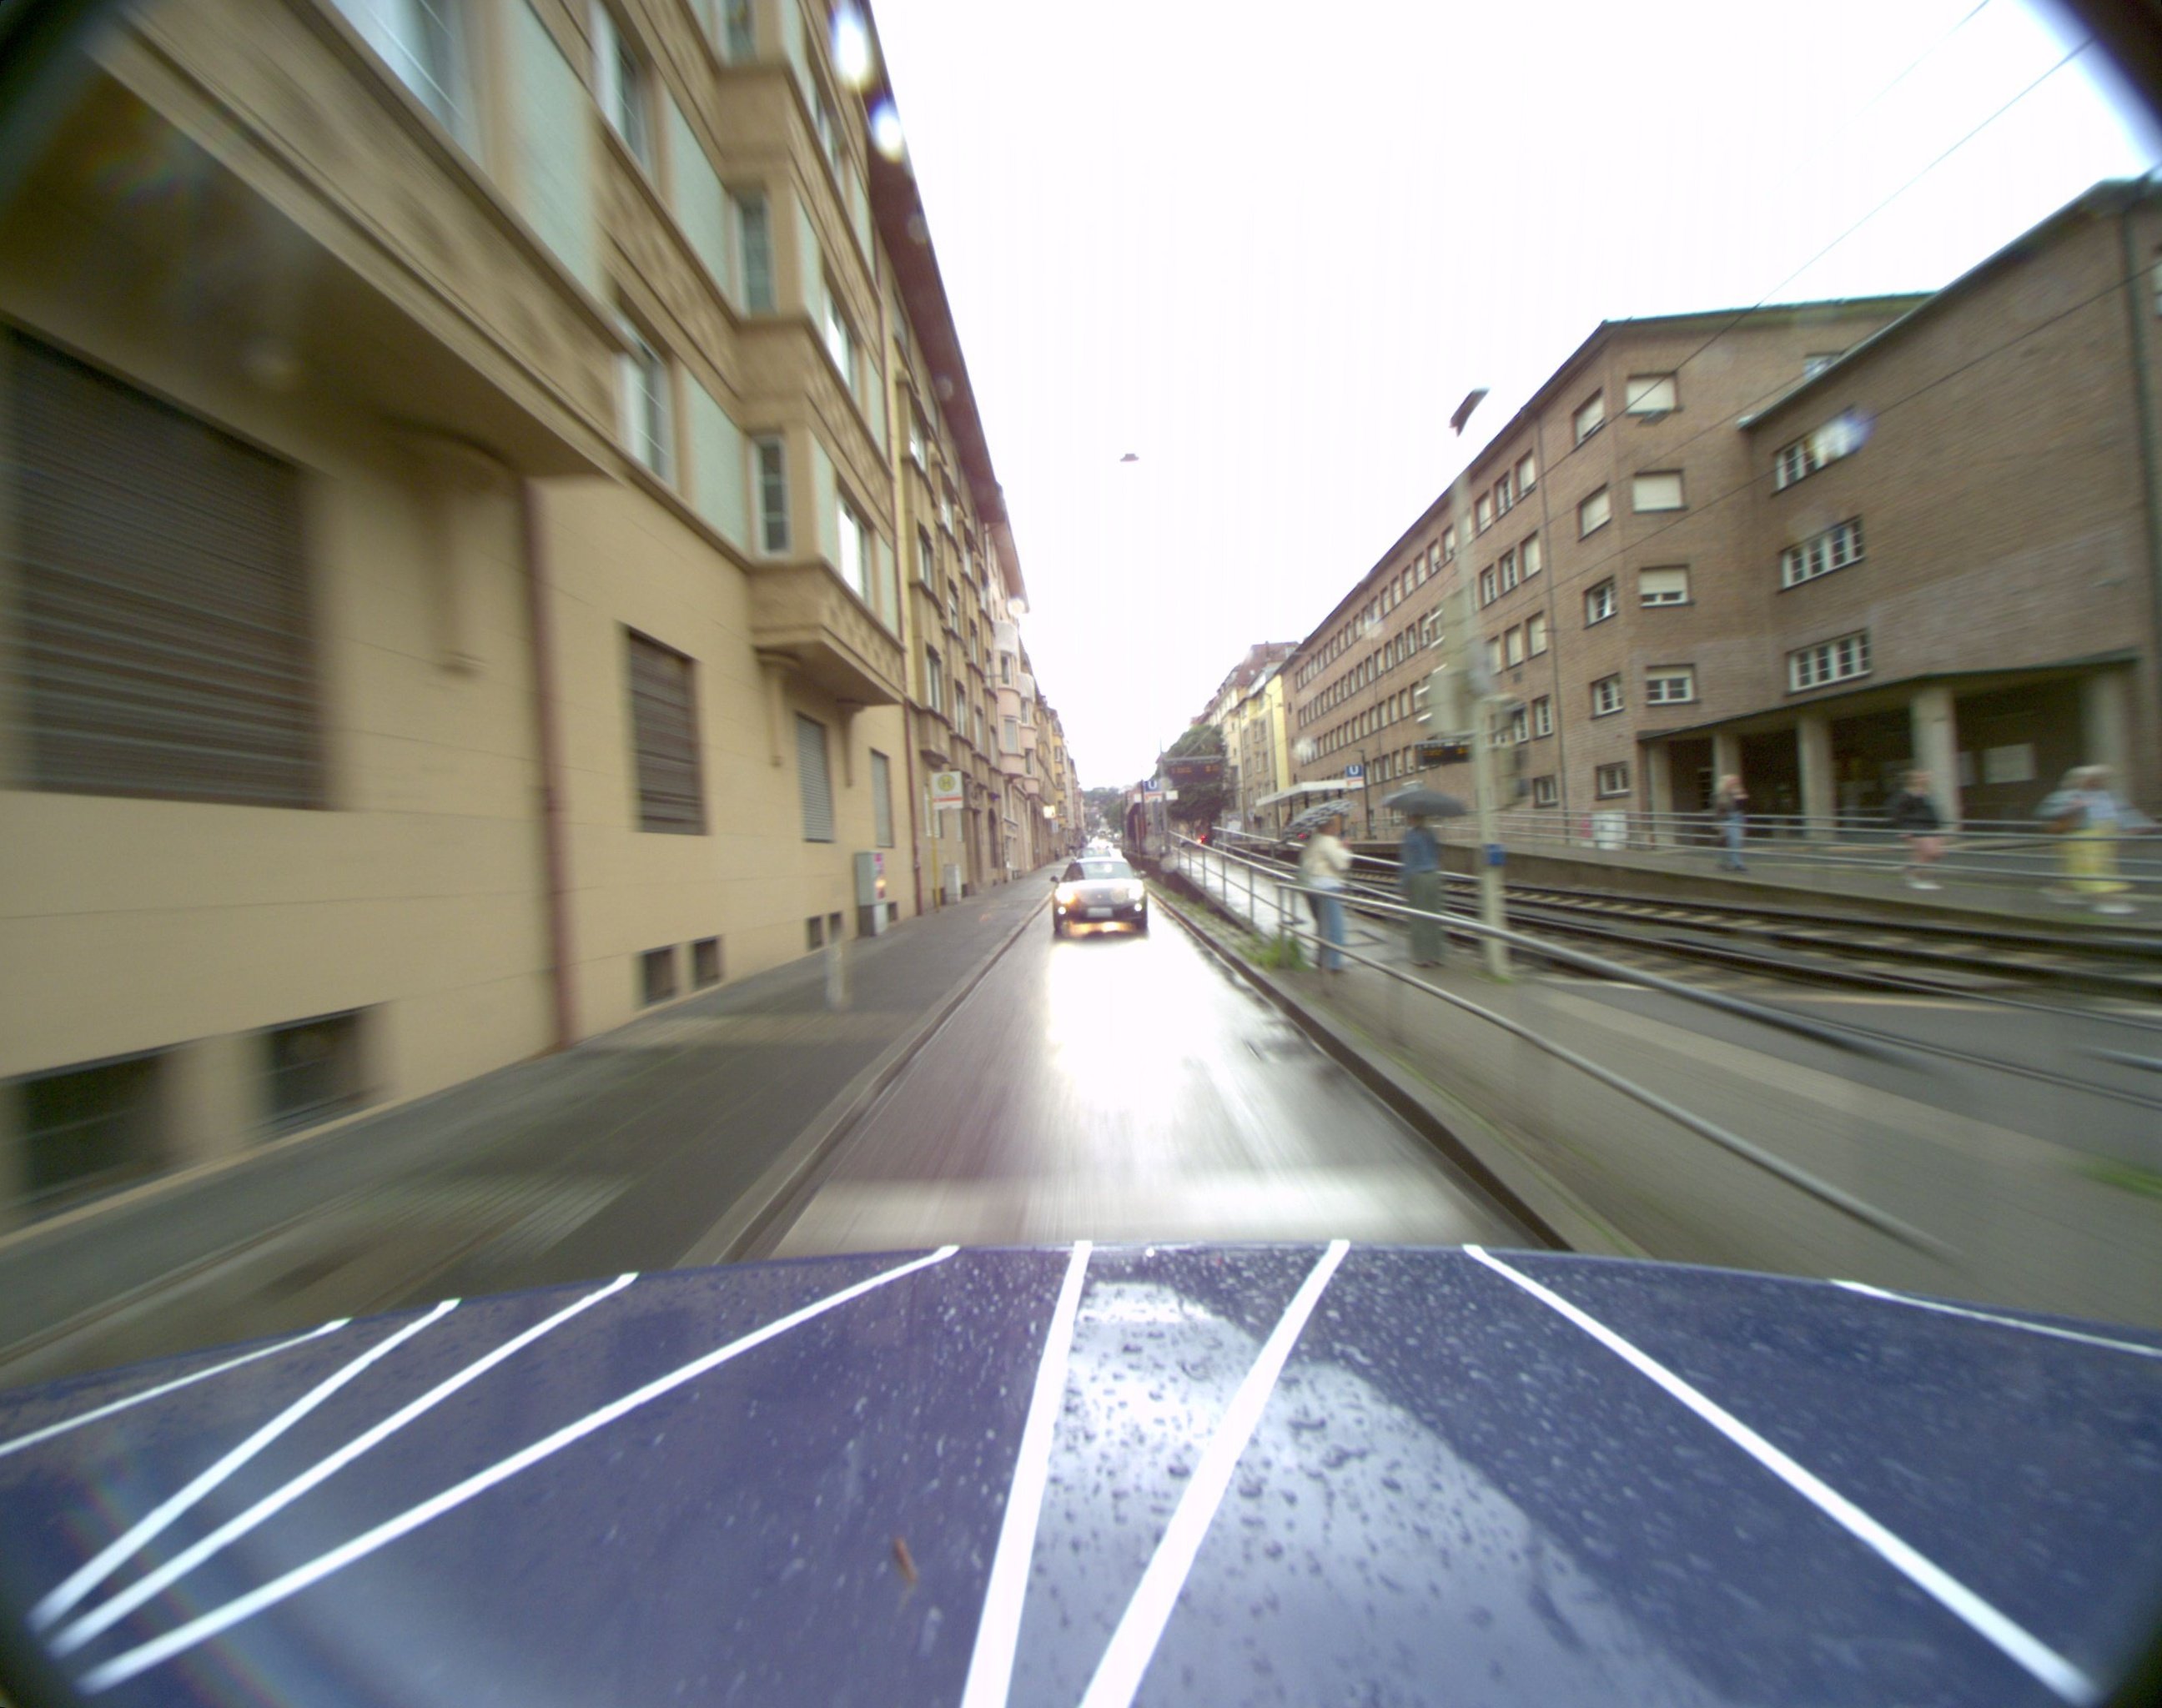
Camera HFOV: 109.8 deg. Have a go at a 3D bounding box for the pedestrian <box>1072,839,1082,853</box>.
[{"bbox_3d":[-0.521,-1.001,96.644,1.125,1.703,1.101,-2,1,2],"label":"pedestrian"}]

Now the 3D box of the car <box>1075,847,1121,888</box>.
[{"bbox_3d":[0.680,0.494,30.247,1.689,1.452,3.298,-2,1,2],"label":"car"}]

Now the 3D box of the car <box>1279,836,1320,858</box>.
[{"bbox_3d":[15.781,-0.530,55.048,1.647,1.488,4.763,-3,1,2],"label":"car"}]

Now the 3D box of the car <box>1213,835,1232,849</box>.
[{"bbox_3d":[16.929,-1.456,90.917,1.648,1.572,4.339,-4,1,3],"label":"car"}]

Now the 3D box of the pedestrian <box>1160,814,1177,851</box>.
[{"bbox_3d":[4.291,-1.038,37.294,0.645,1.764,0.710,-4,2,1],"label":"pedestrian"}]

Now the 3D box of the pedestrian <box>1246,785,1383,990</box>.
[{"bbox_3d":[2.477,0.318,8.053,0.949,2.002,0.926,-6,2,-44],"label":"pedestrian"}]

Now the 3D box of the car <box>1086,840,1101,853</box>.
[{"bbox_3d":[1.616,-0.939,95.704,1.633,1.443,4.000,-4,1,3],"label":"car"}]

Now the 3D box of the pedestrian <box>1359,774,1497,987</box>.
[{"bbox_3d":[3.522,0.251,7.803,0.899,2.002,0.947,-4,2,1],"label":"pedestrian"}]

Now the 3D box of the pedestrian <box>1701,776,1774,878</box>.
[{"bbox_3d":[11.505,-0.483,13.330,0.666,1.690,0.688,-6,5,-1],"label":"pedestrian"}]

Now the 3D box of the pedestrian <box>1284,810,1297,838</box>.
[{"bbox_3d":[12.561,-1.792,45.549,0.588,1.699,0.491,-2,2,1],"label":"pedestrian"}]

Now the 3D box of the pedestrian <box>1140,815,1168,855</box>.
[{"bbox_3d":[3.427,-0.901,35.645,1.116,1.764,1.111,-4,2,1],"label":"pedestrian"}]

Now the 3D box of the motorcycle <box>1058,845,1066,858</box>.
[{"bbox_3d":[-1.959,-0.255,77.392,0.692,1.230,1.778,2,1,1],"label":"motorcycle"}]

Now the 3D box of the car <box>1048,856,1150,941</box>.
[{"bbox_3d":[0.419,0.792,15.330,1.704,1.280,4.195,-4,1,3],"label":"car"}]

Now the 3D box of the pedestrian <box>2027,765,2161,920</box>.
[{"bbox_3d":[11.527,-0.128,8.607,0.745,1.638,0.640,-5,2,2],"label":"pedestrian"}]

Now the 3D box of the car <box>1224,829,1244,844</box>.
[{"bbox_3d":[16.530,-1.873,82.065,1.648,1.458,3.111,-4,1,3],"label":"car"}]

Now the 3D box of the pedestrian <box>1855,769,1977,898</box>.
[{"bbox_3d":[11.704,-0.300,10.677,0.745,1.687,0.882,-5,4,1],"label":"pedestrian"}]
